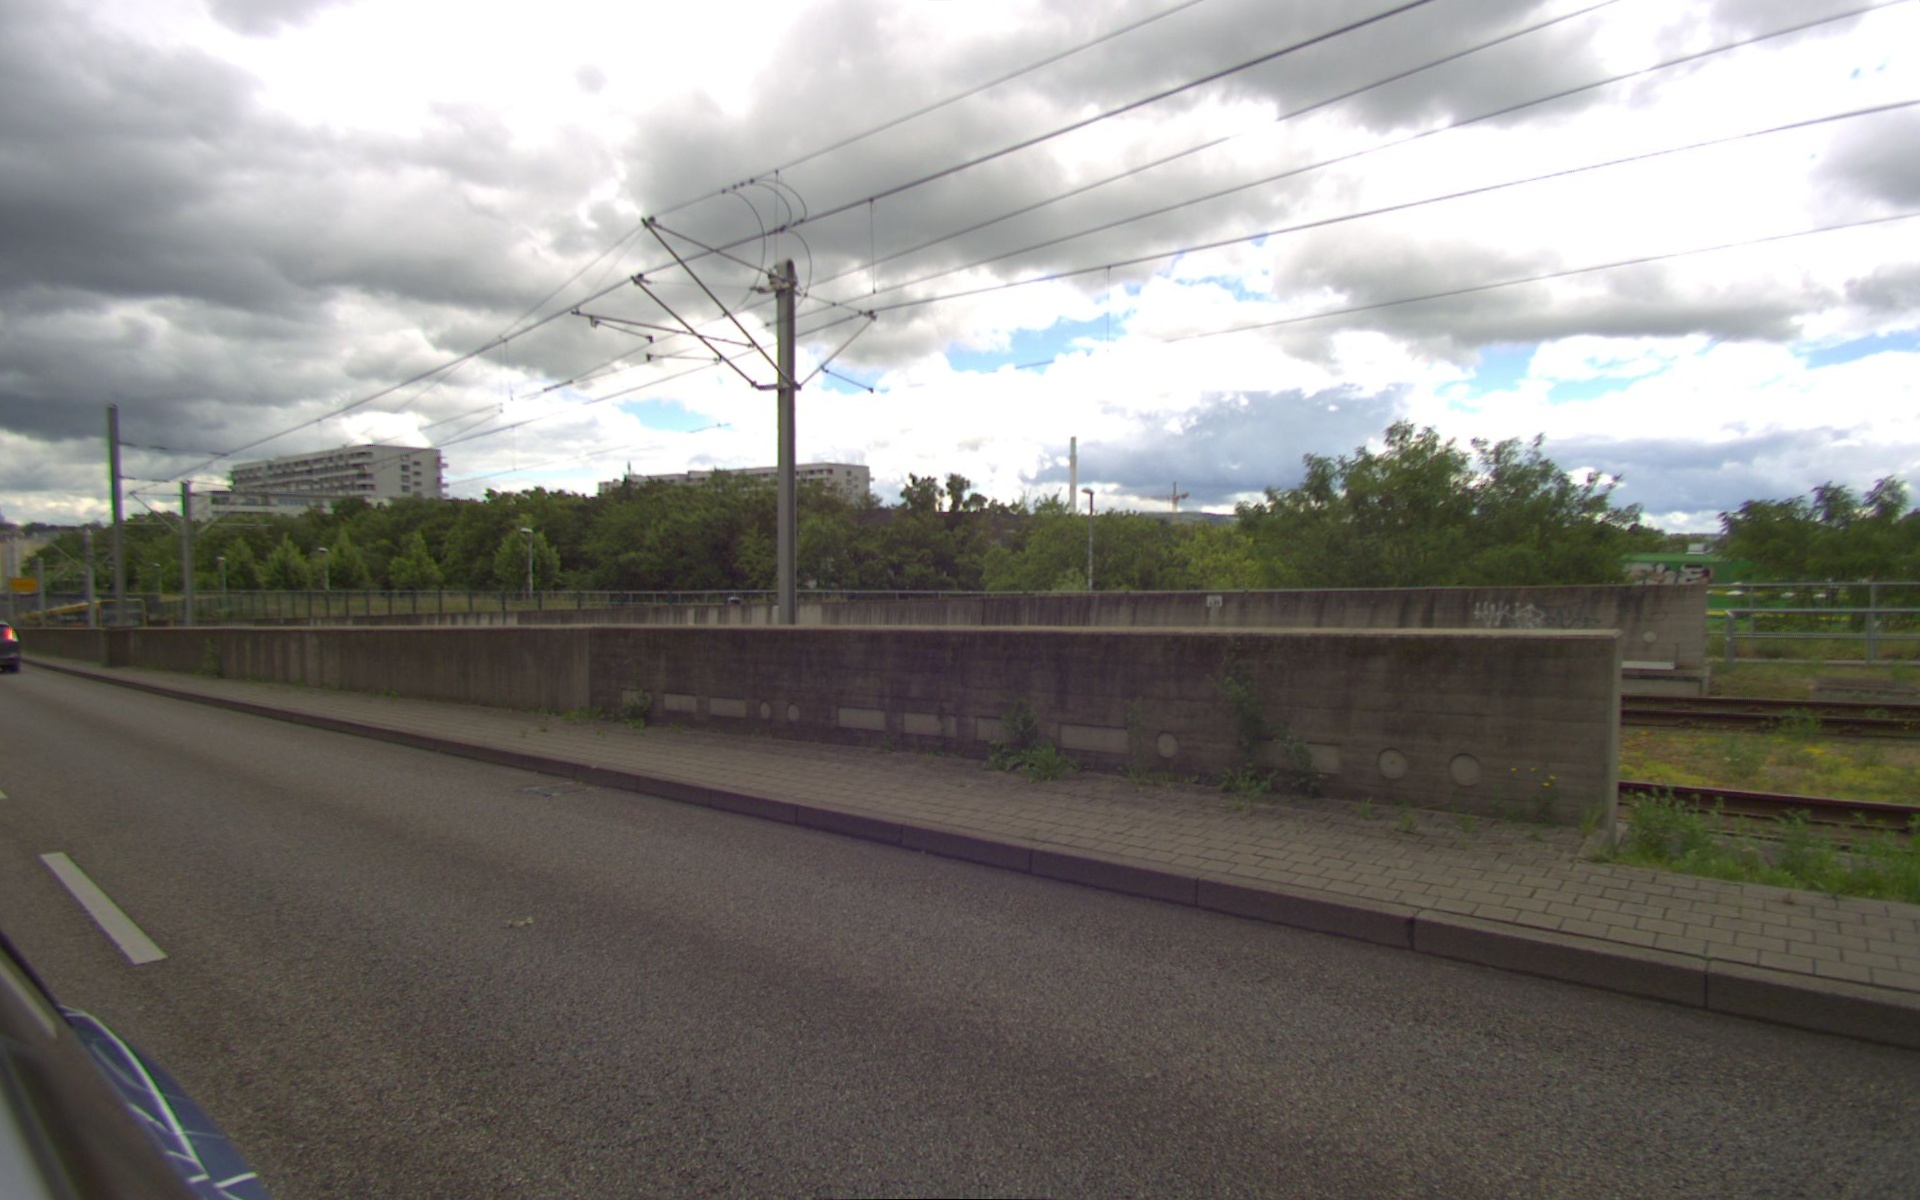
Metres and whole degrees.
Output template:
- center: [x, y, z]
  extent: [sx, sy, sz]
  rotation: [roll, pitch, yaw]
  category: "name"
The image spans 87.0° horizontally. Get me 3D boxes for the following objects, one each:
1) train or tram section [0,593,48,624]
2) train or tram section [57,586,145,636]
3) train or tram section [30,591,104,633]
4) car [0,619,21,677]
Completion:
- center: [-104.600, 0.949, 112.857]
  extent: [17.566, 3.215, 2.682]
  rotation: [-1, 0, 43]
  category: "train or tram section"
- center: [-61.893, 0.793, 72.663]
  extent: [18.475, 3.217, 2.750]
  rotation: [-1, 0, 43]
  category: "train or tram section"
- center: [-75.454, 0.990, 85.260]
  extent: [18.472, 3.217, 2.751]
  rotation: [-1, 0, 43]
  category: "train or tram section"
- center: [-29.745, 1.434, 30.396]
  extent: [4.243, 1.670, 1.804]
  rotation: [-2, 0, 41]
  category: "car"
